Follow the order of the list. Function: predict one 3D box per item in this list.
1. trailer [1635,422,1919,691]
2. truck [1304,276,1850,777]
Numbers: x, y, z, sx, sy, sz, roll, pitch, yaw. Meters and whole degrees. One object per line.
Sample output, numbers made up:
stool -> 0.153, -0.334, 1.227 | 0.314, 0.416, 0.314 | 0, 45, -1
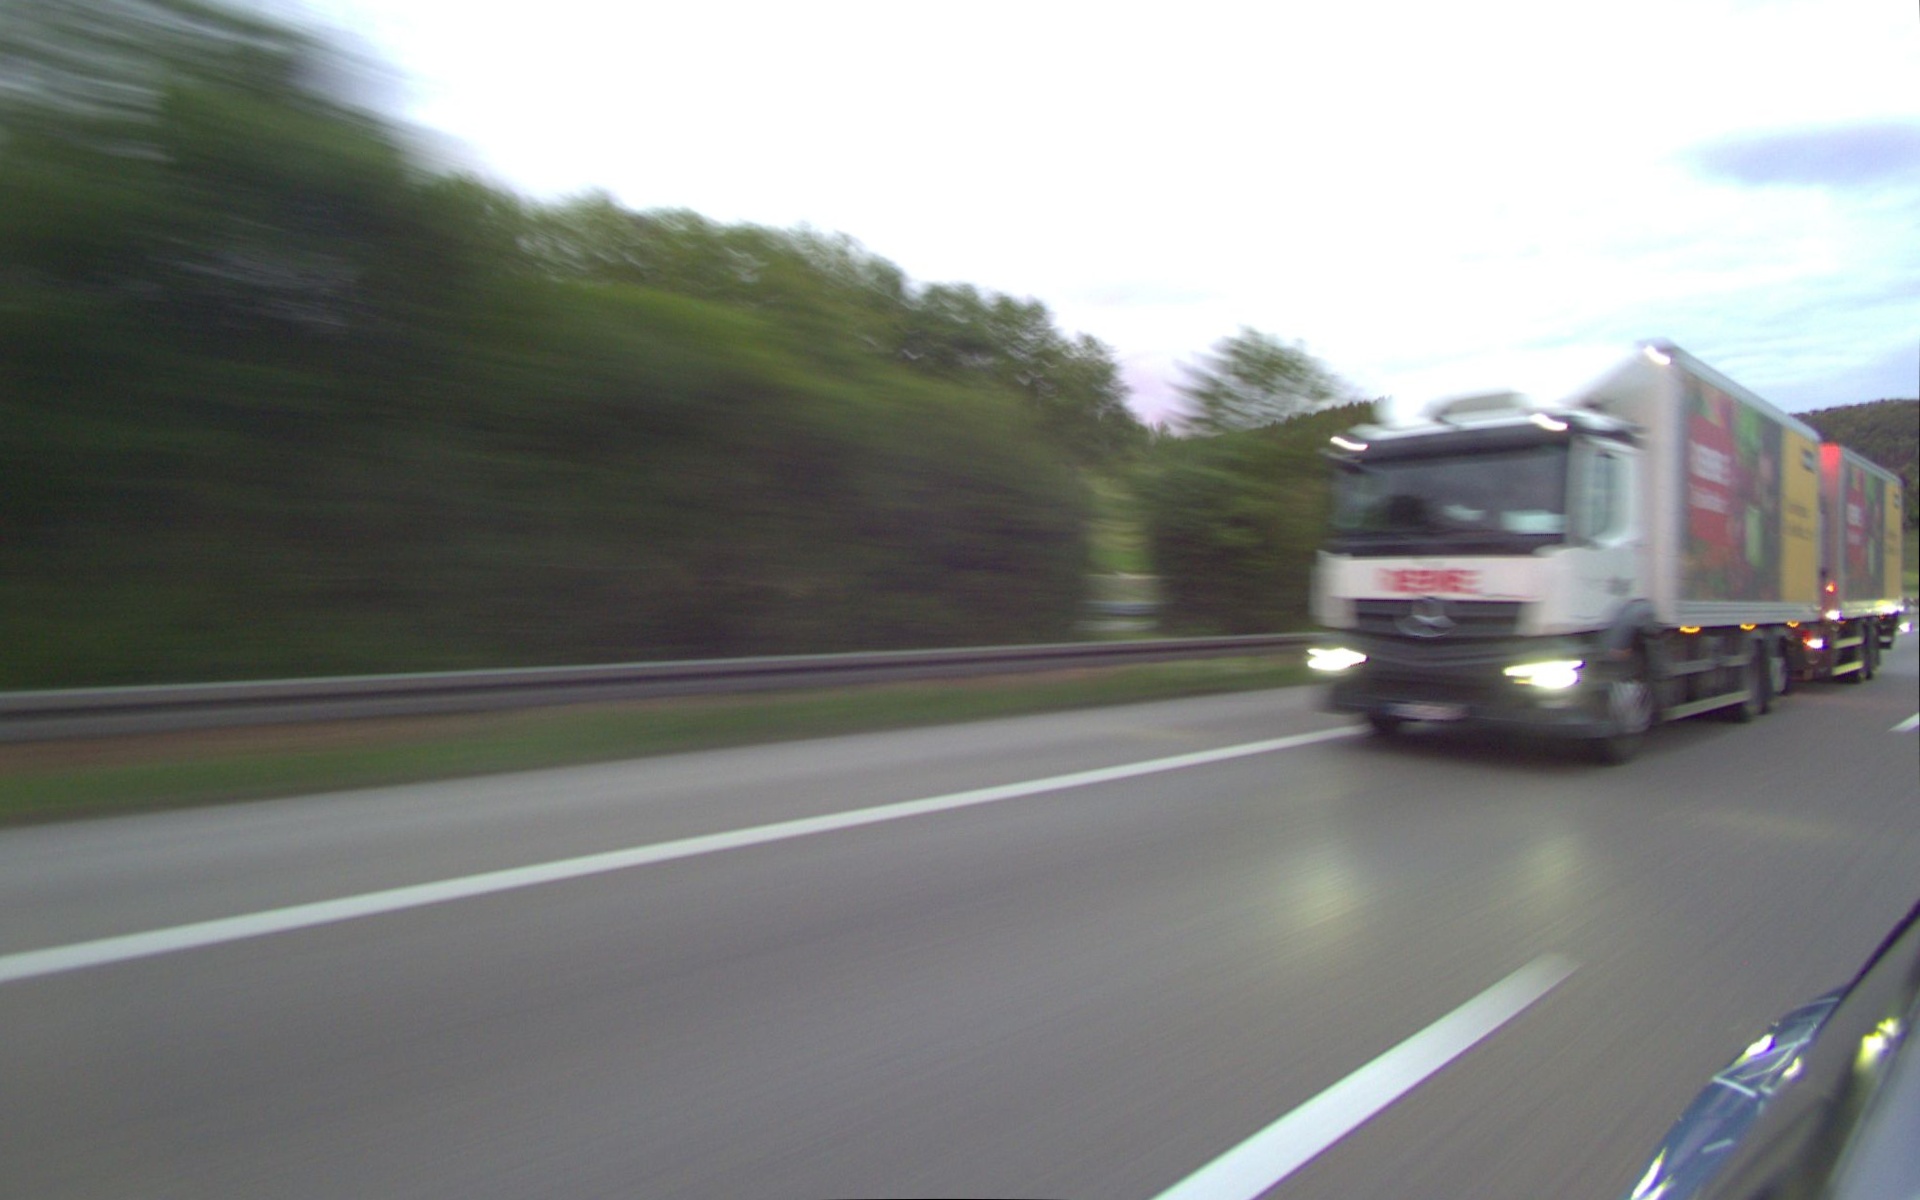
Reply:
trailer -> 15.229, -0.706, 18.450 | 8.723, 3.874, 2.621 | -1, 1, -41
truck -> 8.053, -0.645, 12.183 | 10.205, 3.874, 2.621 | -1, 2, -41
